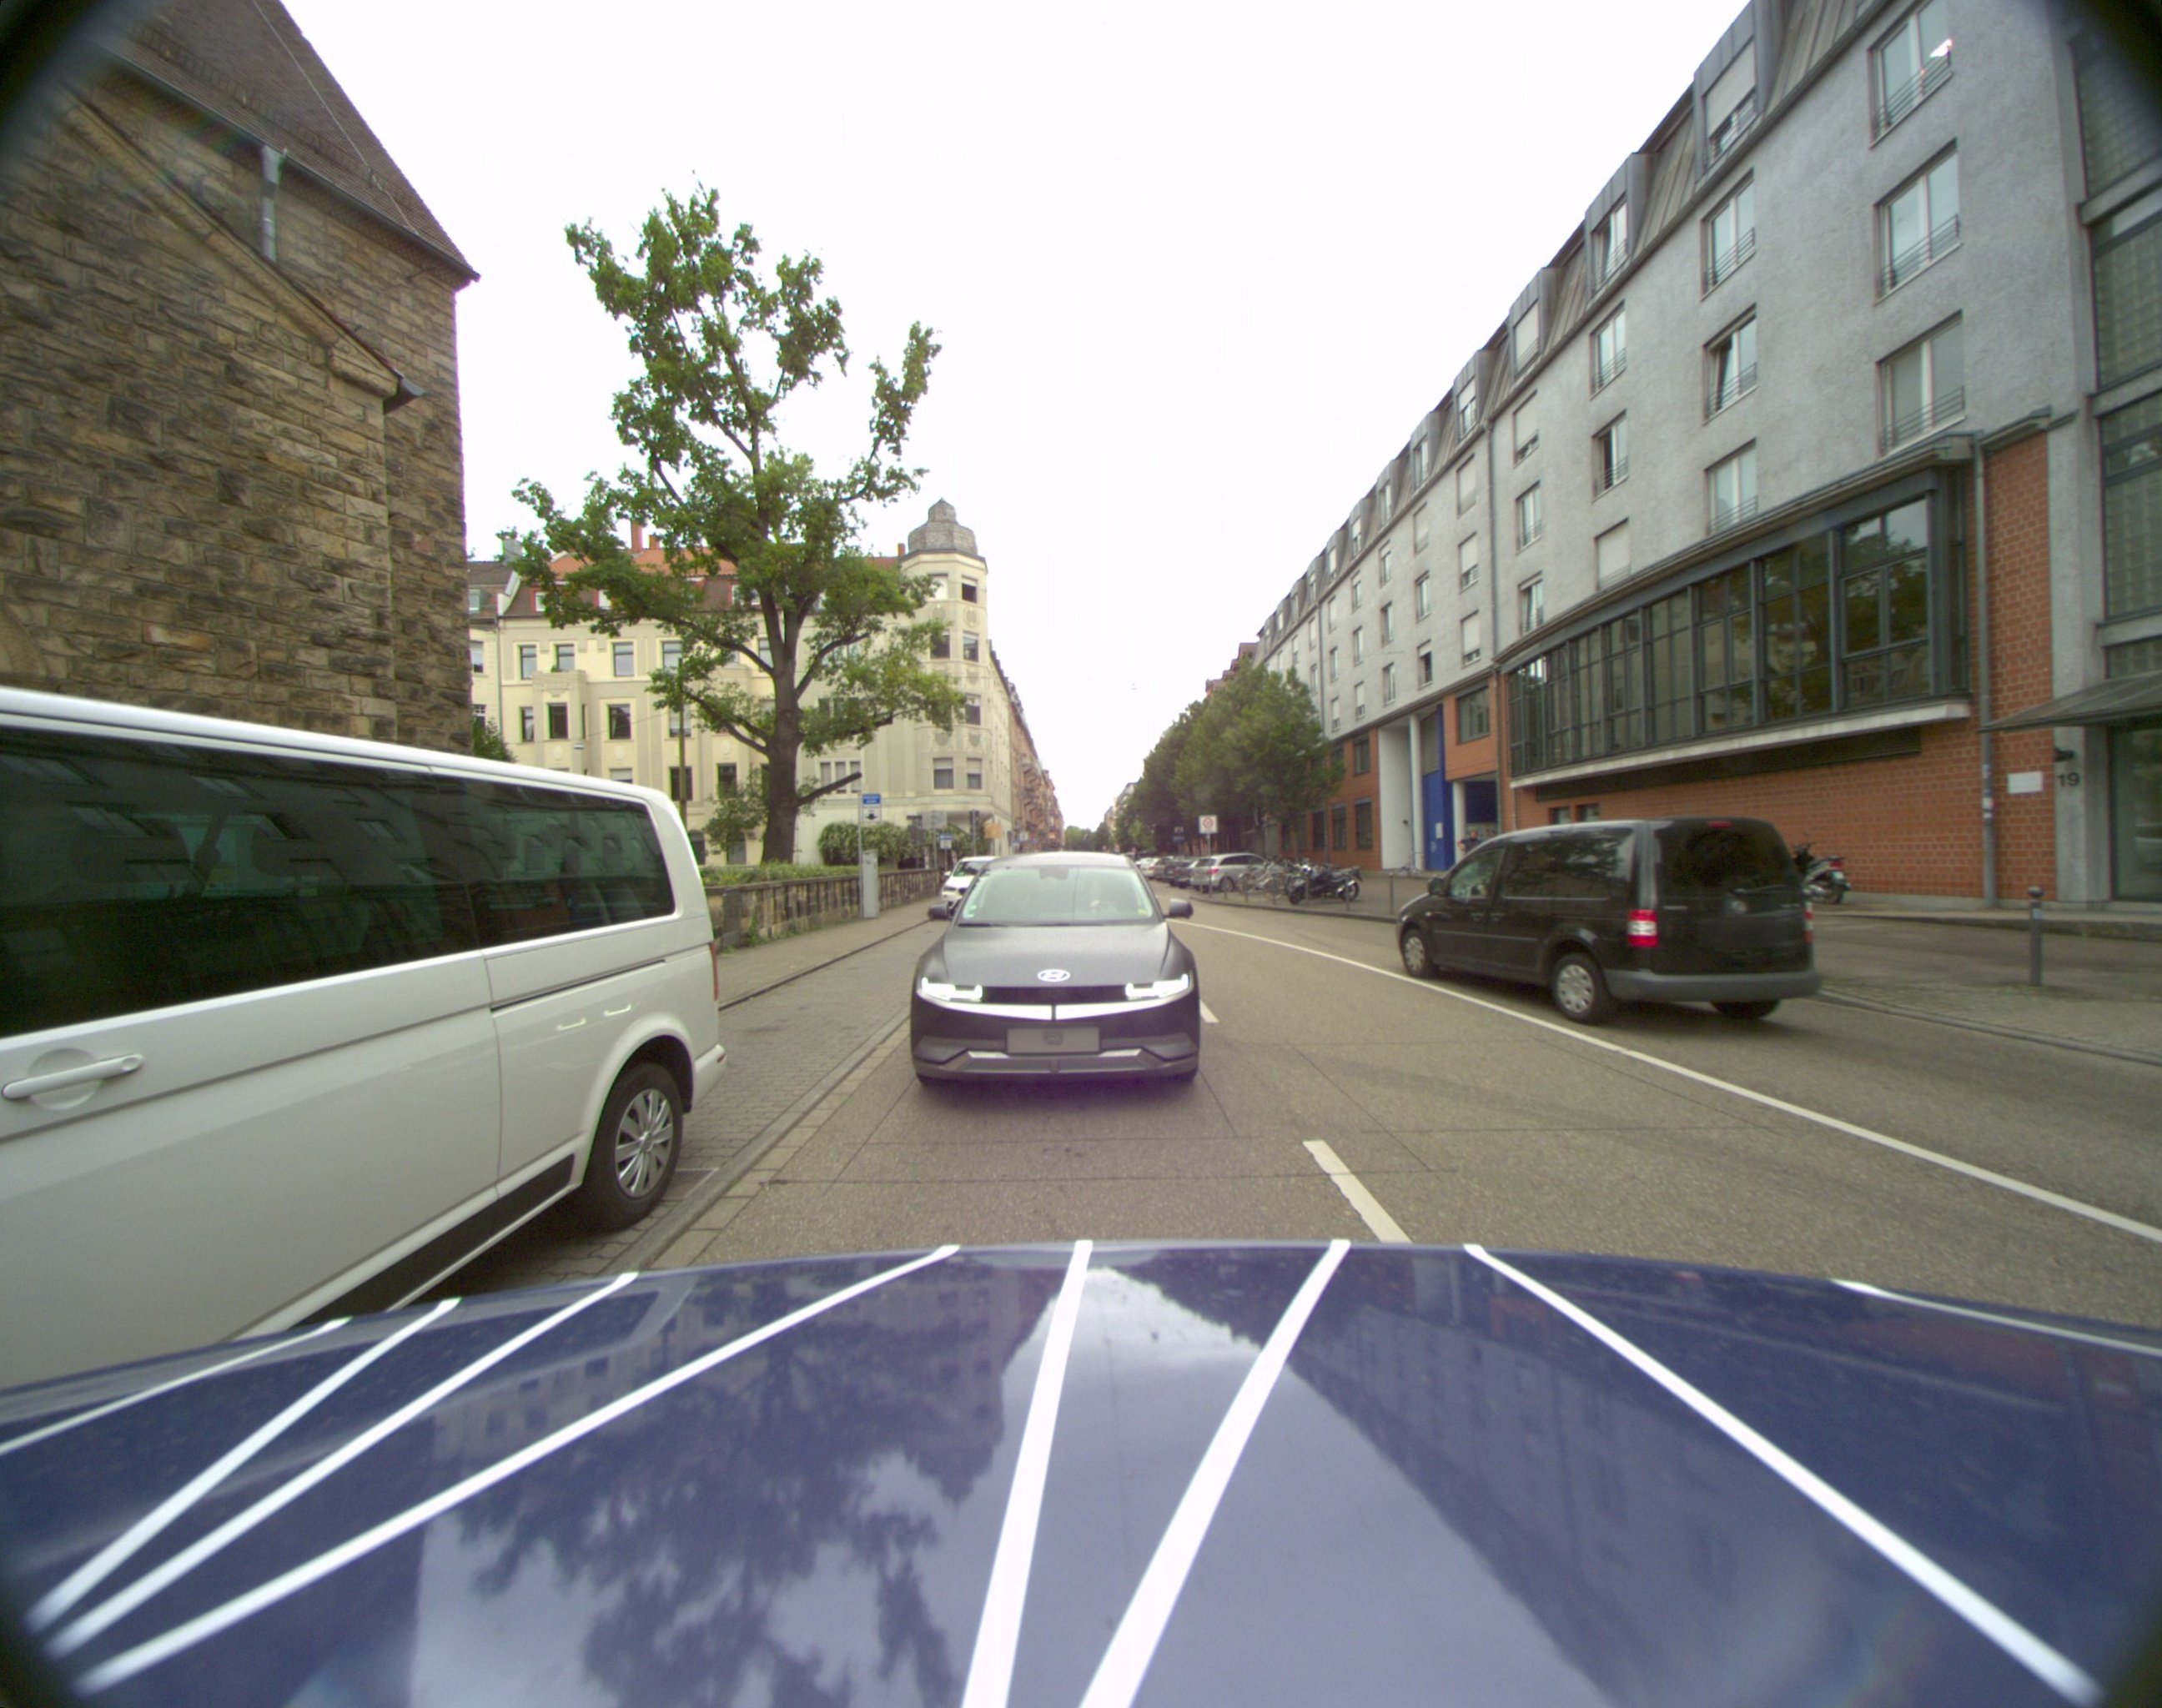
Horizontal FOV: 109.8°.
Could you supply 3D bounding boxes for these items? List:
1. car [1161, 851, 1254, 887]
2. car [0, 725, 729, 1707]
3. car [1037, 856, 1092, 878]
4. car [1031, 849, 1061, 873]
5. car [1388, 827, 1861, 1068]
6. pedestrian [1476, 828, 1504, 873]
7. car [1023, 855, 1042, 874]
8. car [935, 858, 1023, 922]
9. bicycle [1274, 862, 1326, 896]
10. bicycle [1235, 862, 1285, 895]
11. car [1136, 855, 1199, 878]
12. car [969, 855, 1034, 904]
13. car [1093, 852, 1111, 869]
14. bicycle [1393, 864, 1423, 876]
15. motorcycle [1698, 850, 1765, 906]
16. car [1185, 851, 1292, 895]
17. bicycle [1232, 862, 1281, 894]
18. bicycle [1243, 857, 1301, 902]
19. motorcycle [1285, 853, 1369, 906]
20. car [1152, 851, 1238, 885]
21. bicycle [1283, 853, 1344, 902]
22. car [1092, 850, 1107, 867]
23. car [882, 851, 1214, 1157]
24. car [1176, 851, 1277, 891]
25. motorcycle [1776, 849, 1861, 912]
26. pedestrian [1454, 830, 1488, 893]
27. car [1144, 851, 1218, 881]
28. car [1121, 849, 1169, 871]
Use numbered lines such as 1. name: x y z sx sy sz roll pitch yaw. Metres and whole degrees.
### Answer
1. car: 6.199 0.722 37.331 4.004 1.619 1.996 -2 0 -22
2. car: -2.780 0.752 1.449 1.810 1.908 5.163 -2 0 -1
3. car: -1.293 0.989 58.721 1.916 1.597 4.239 -2 1 -41
4. car: -2.420 0.460 53.598 1.820 1.556 4.000 -2 0 1
5. car: 5.015 0.706 7.870 1.698 1.793 4.127 -1 0 -5
6. pedestrian: 15.246 -0.139 28.326 0.686 1.640 0.622 -2 1 2
7. car: -4.166 0.879 65.078 1.336 1.462 2.857 -2 1 1
8. car: -2.713 0.911 21.110 1.820 1.556 4.000 -2 0 1
9. bicycle: 7.508 0.840 26.045 1.630 1.067 0.416 -3 1 -1
10. bicycle: 6.360 0.878 27.066 1.630 1.067 0.416 -3 1 -1
11. car: 5.999 0.859 52.684 4.004 1.488 1.735 -2 0 -22
12. car: -2.757 0.848 27.133 1.820 1.556 4.000 -2 0 1
13. car: 2.505 0.753 91.236 1.998 1.897 4.000 -2 0 1
14. bicycle: 13.386 0.659 31.103 1.010 0.434 0.527 -2 2 2
15. motorcycle: 13.308 0.464 15.591 0.445 1.091 1.765 -1 0 21
16. car: 6.506 0.744 31.452 4.004 1.619 1.769 -2 0 -22
17. bicycle: 6.347 0.871 27.554 1.630 1.067 0.416 -3 1 -1
18. bicycle: 5.877 0.771 23.430 1.630 1.282 0.416 -3 1 -1
19. motorcycle: 6.950 0.717 21.500 2.124 1.345 0.599 -3 1 1
20. car: 6.010 0.709 40.101 4.004 1.619 1.996 -2 0 -22
21. bicycle: 6.944 0.695 22.713 1.630 1.345 0.416 -3 1 -1
22. car: 2.337 0.524 97.867 1.875 2.002 3.999 -2 1 1
23. car: -0.158 0.846 6.265 1.820 1.675 4.000 -2 0 1
24. car: 6.519 0.734 34.112 4.004 1.619 1.996 -2 0 -22
25. motorcycle: 13.510 0.455 13.975 0.445 1.091 1.765 -1 0 21
26. pedestrian: 11.411 0.223 22.226 0.621 1.812 0.642 -2 1 1
27. car: 6.055 0.711 46.047 4.004 1.619 1.996 -2 0 -22
28. car: 6.073 0.571 72.345 4.004 1.897 1.996 -2 0 -22
